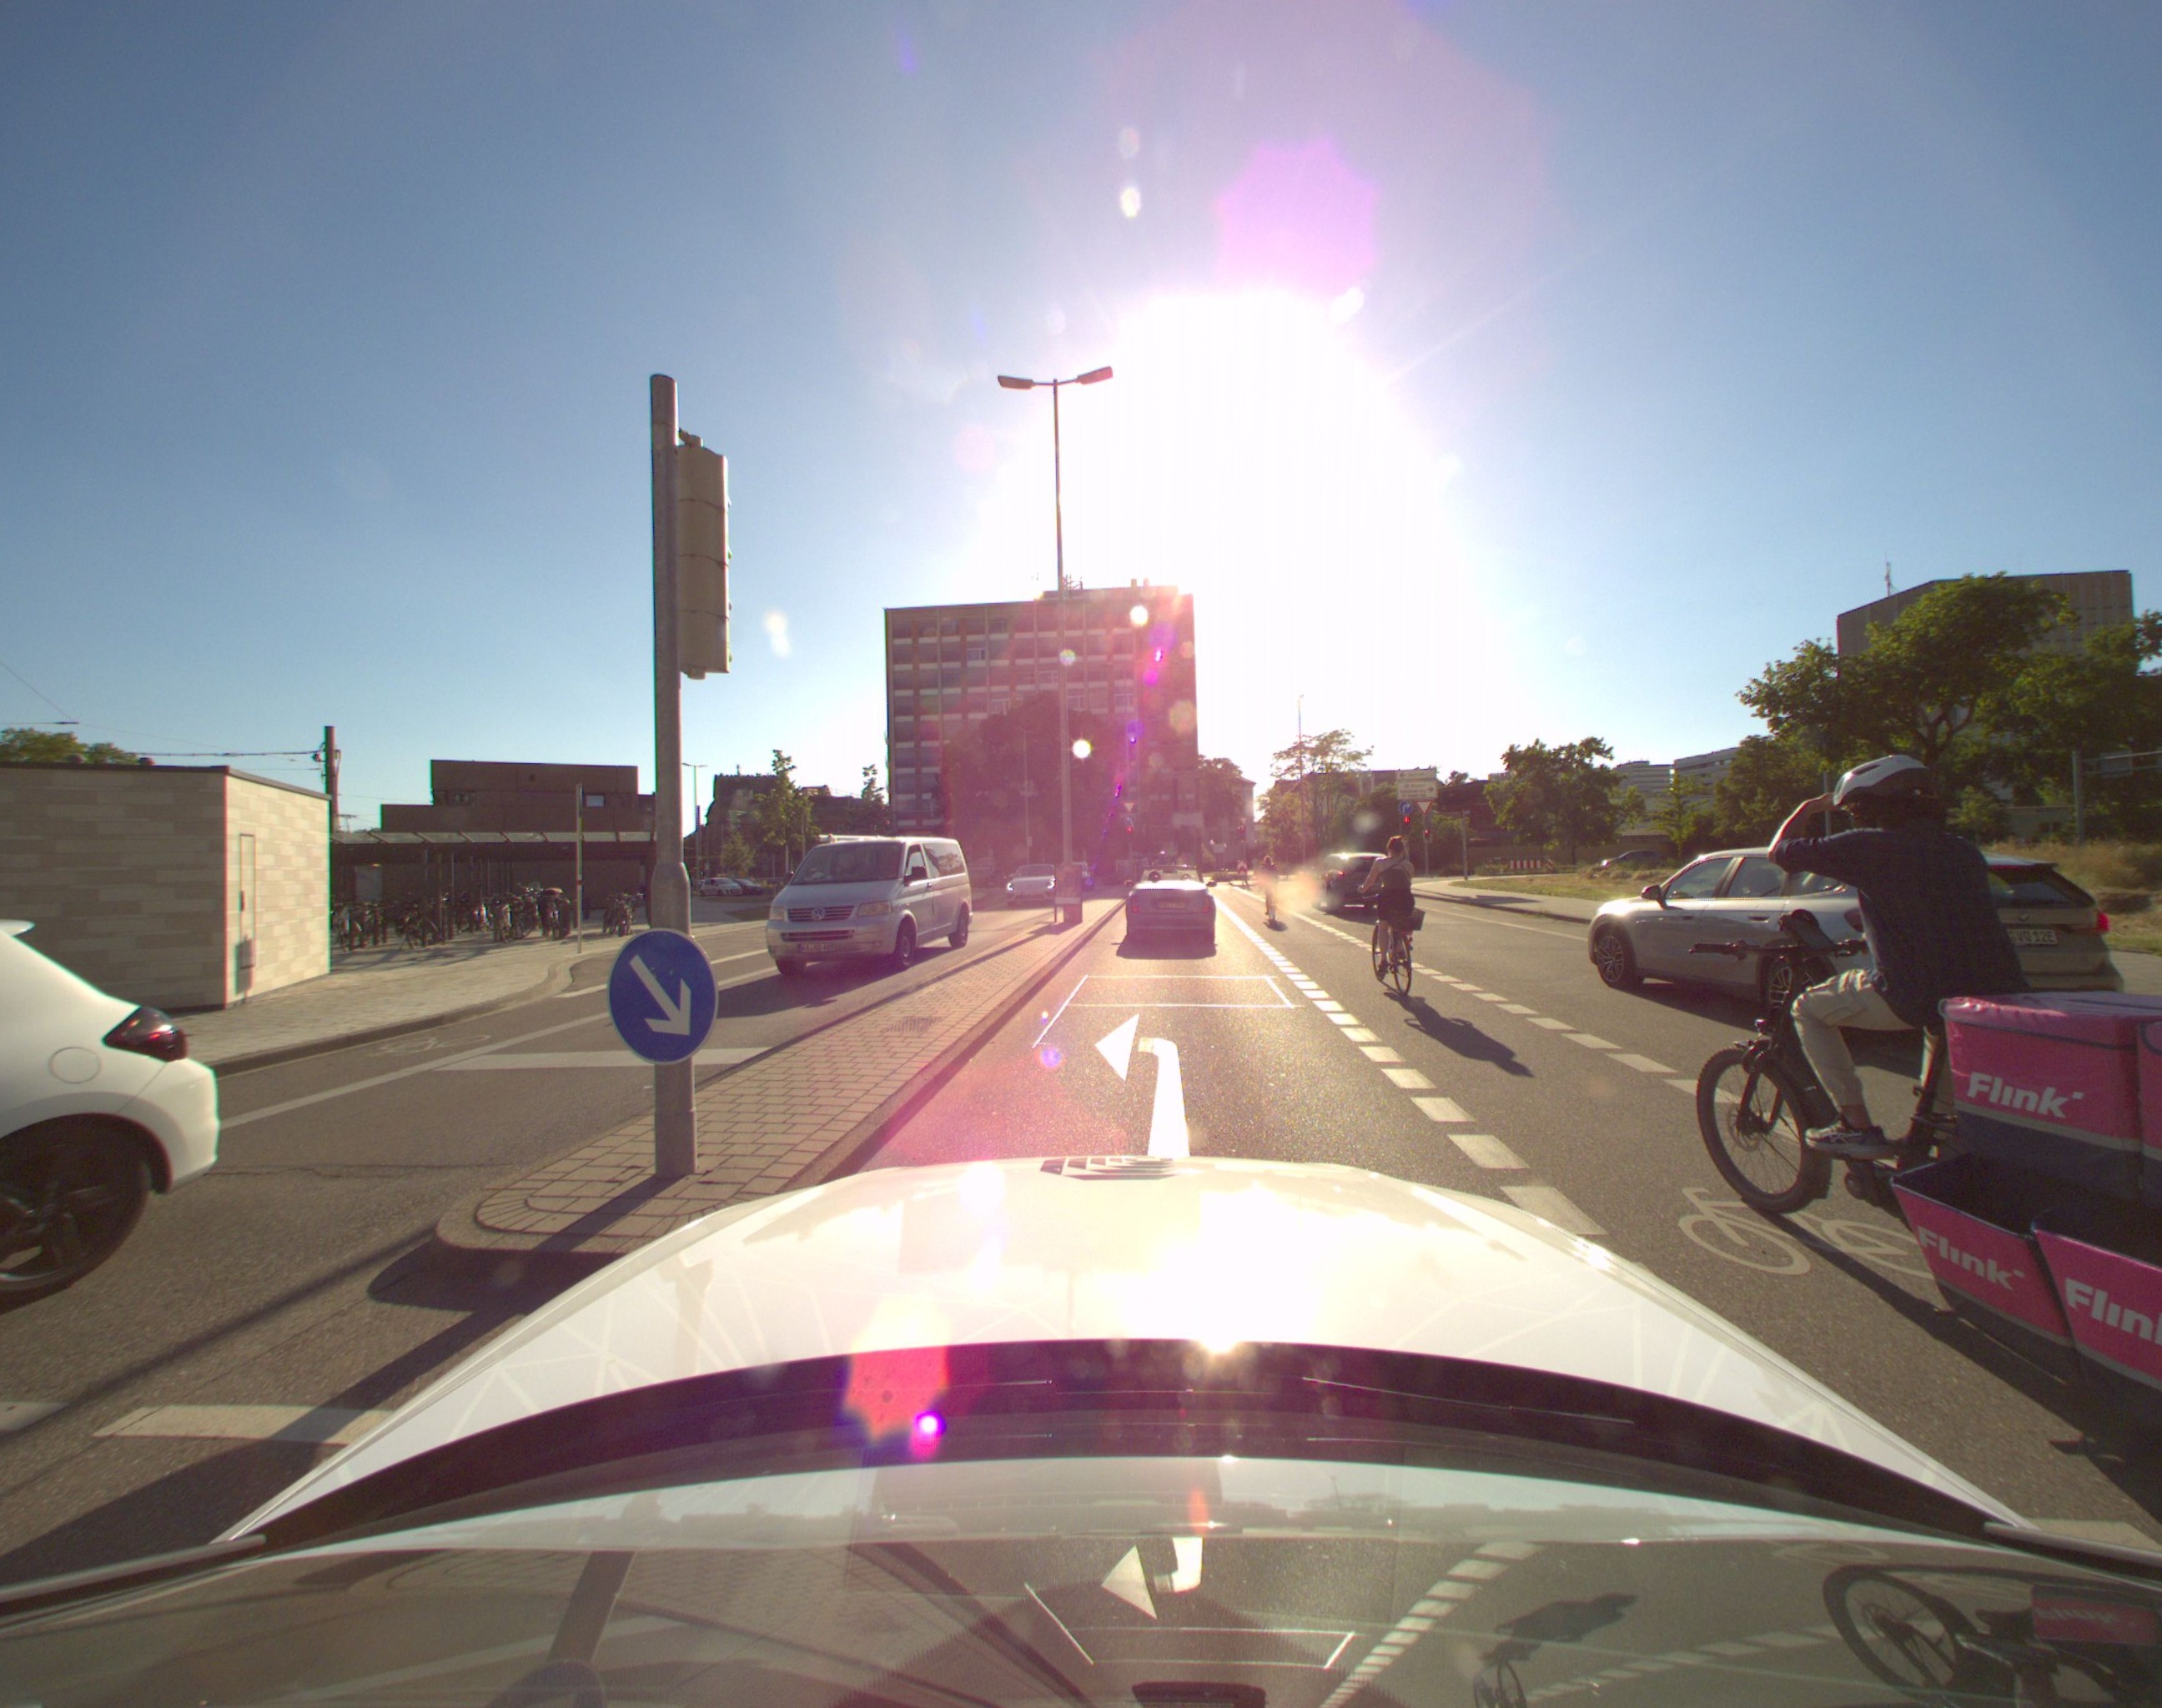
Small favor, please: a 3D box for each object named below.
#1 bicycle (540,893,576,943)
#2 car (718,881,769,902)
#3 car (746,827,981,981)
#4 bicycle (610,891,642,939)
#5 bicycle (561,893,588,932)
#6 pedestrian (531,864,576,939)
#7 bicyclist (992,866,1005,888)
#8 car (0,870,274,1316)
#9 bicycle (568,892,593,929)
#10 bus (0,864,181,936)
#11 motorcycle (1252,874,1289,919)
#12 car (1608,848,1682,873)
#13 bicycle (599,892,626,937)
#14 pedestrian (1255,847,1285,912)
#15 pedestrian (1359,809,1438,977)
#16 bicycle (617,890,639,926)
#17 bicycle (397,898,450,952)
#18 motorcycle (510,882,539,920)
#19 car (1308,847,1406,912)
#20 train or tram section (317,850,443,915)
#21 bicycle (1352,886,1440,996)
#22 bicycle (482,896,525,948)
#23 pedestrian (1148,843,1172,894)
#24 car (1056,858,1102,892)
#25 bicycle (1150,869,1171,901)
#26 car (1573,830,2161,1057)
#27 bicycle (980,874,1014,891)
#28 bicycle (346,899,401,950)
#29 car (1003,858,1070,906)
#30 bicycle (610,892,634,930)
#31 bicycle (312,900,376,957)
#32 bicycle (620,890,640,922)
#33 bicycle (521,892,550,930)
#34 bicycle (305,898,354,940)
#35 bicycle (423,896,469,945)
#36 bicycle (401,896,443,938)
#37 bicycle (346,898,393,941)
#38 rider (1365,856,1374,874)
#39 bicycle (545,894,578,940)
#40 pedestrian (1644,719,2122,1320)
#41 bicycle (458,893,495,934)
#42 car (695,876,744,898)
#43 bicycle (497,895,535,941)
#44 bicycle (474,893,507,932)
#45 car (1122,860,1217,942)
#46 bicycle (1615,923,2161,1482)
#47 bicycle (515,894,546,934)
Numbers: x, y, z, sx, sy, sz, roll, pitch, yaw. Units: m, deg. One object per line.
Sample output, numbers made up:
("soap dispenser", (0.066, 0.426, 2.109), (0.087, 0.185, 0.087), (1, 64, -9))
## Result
("bicycle", (-12.698, 1.528, 19.795), (0.610, 1.115, 1.878), (1, -2, -30))
("car", (-28.444, 3.157, 68.701), (3.565, 1.561, 1.655), (-2, -1, 11))
("car", (-3.185, 0.686, 13.131), (1.898, 1.945, 4.716), (-3, -1, 7))
("bicycle", (-11.442, 1.502, 20.522), (0.610, 1.115, 1.880), (1, -2, -27))
("bicycle", (-15.505, 1.763, 24.942), (0.610, 1.115, 1.878), (1, -2, -30))
("pedestrian", (-13.509, 1.196, 20.887), (0.906, 1.869, 0.680), (1, -2, -30))
("bicyclist", (-6.075, 1.691, 59.949), (0.746, 1.598, 0.591), (0, -2, 12))
("car", (-4.795, 0.865, 1.859), (1.686, 1.561, 3.986), (-2, -1, 6))
("bicycle", (-16.389, 1.825, 26.709), (0.610, 1.115, 1.878), (1, -2, -30))
("bus", (-52.410, 2.250, 43.053), (2.739, 3.274, 13.329), (1, -2, -32))
("motorcycle", (4.815, 1.057, 20.814), (0.610, 1.098, 2.363), (0, -2, 5))
("car", (36.946, 0.432, 53.394), (3.611, 1.561, 1.657), (-2, -1, 15))
("bicycle", (-12.762, 1.620, 22.197), (0.610, 1.115, 1.878), (1, -2, -30))
("pedestrian", (4.804, 0.646, 20.735), (0.585, 1.598, 1.026), (0, -2, 5))
("pedestrian", (3.687, 0.443, 9.523), (0.655, 1.869, 0.874), (0, -2, 7))
("bicycle", (-15.198, 1.788, 27.316), (0.610, 1.115, 1.878), (1, -2, -30))
("bicycle", (-14.946, 1.578, 18.553), (0.610, 1.115, 1.878), (1, -2, -30))
("motorcycle", (-20.975, 1.754, 30.715), (0.771, 1.390, 1.878), (1, -2, -31))
("car", (7.884, 0.729, 23.689), (1.822, 1.689, 4.376), (0, -2, 6))
("train or tram section", (-43.347, 1.731, 50.929), (3.056, 3.597, 11.945), (1, -2, -26))
("bicycle", (3.698, 0.966, 9.703), (0.560, 1.151, 1.954), (0, -2, 9))
("bicycle", (-13.680, 1.575, 19.325), (0.610, 1.115, 1.878), (1, -2, -30))
("pedestrian", (2.992, 0.549, 30.730), (0.828, 1.869, 0.923), (0, -2, 9))
("car", (-0.044, 1.007, 40.722), (1.790, 1.530, 4.006), (-3, -1, 6))
("bicycle", (3.020, 1.160, 30.832), (0.604, 1.192, 2.421), (0, -2, 10))
("car", (6.869, 0.678, 7.937), (1.779, 1.594, 4.334), (0, -1, 4))
("bicycle", (-6.175, 2.096, 59.954), (2.390, 1.192, 0.612), (0, -2, 12))
("bicycle", (-16.873, 1.655, 19.459), (0.610, 1.115, 1.878), (1, -2, -30))
("car", (-1.539, 0.979, 29.689), (1.790, 1.530, 4.005), (-3, -1, 5))
("bicycle", (-14.391, 1.761, 25.518), (0.610, 1.115, 1.878), (1, -2, -30))
("bicycle", (-15.957, 1.579, 17.666), (0.610, 1.115, 1.878), (1, -2, -30))
("bicycle", (-16.863, 1.913, 30.436), (0.610, 1.115, 1.878), (1, -2, -30))
("bicycle", (-17.529, 1.809, 26.175), (0.610, 1.115, 1.878), (1, -2, -30))
("bicycle", (-21.850, 1.862, 23.709), (0.610, 1.115, 1.878), (1, -2, -30))
("bicycle", (-15.882, 1.632, 20.399), (0.610, 1.115, 1.878), (1, -2, -30))
("bicycle", (-18.749, 1.774, 23.199), (0.610, 1.115, 1.878), (1, -2, -30))
("bicycle", (-19.856, 1.800, 22.756), (0.610, 1.115, 1.878), (1, -2, -30))
("rider", (25.414, 0.977, 71.711), (0.745, 1.598, 0.592), (-1, -2, 18))
("bicycle", (-13.685, 1.634, 21.490), (0.610, 1.115, 1.878), (1, -2, -30))
("pedestrian", (2.839, 0.520, 3.038), (0.803, 1.869, 0.957), (0, -2, 2))
("bicycle", (-17.653, 1.718, 23.813), (0.610, 1.115, 1.878), (1, -2, -30))
("car", (-26.802, 2.449, 60.367), (3.553, 1.561, 1.655), (-2, -1, 33))
("bicycle", (-14.672, 1.637, 21.172), (0.610, 1.115, 1.878), (1, -2, -30))
("bicycle", (-18.592, 1.818, 25.659), (0.610, 1.115, 1.878), (1, -2, -30))
("car", (1.725, 0.880, 16.441), (1.652, 1.441, 4.159), (0, -2, 4))
("bicycle", (2.857, 0.896, 2.864), (0.551, 1.171, 2.375), (0, -2, 5))
("bicycle", (-16.510, 1.783, 24.447), (0.610, 1.115, 1.878), (1, -2, -30))
